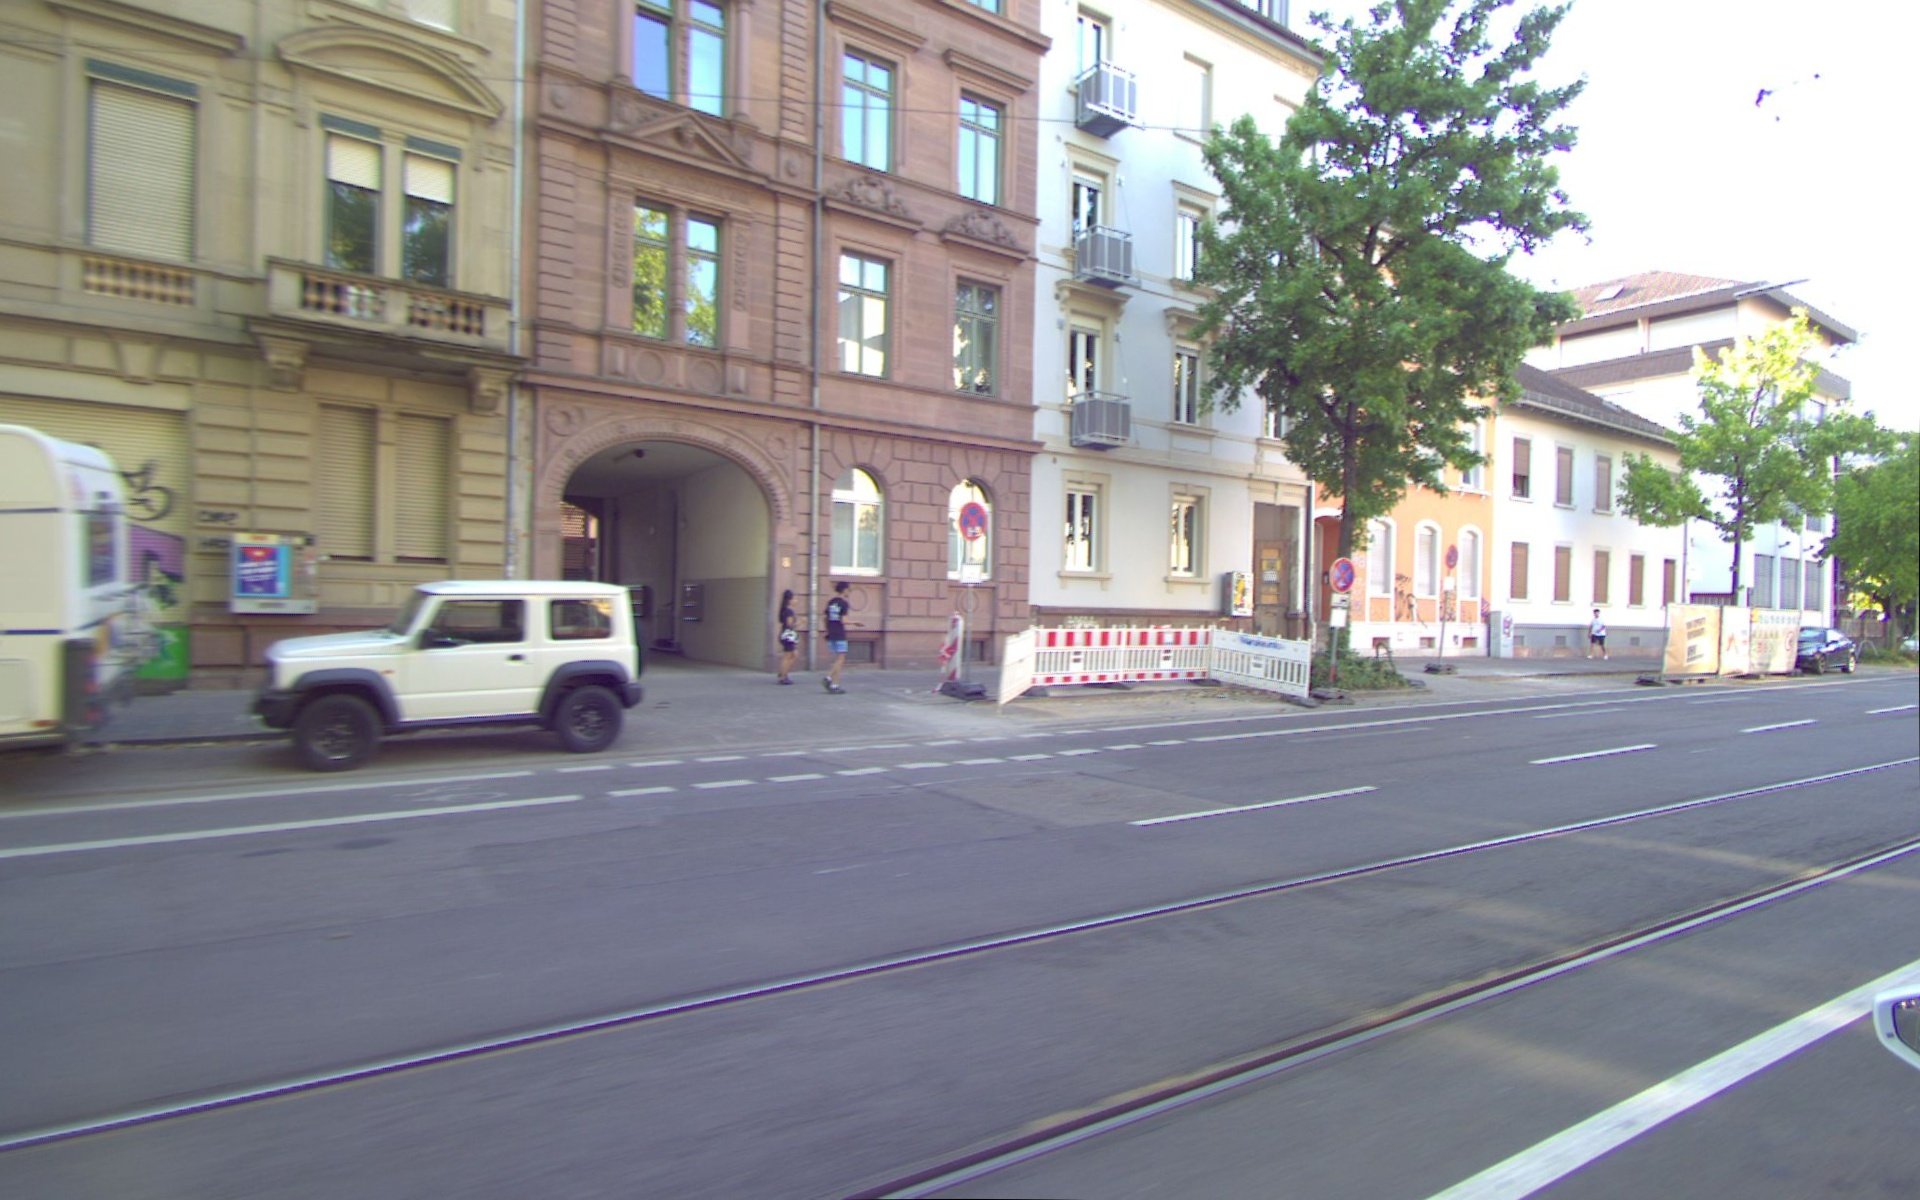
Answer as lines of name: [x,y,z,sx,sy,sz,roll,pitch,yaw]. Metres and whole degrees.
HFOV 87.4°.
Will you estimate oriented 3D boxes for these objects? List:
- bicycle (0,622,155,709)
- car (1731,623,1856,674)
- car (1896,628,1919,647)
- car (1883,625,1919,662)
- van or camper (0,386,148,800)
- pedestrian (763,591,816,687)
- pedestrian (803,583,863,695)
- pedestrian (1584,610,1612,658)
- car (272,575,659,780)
bicycle: [-10.363,0.732,11.448,1.771,0.936,0.575,1,0,-32]
car: [27.534,1.552,33.146,4.677,1.534,1.981,1,-1,-35]
car: [79.659,3.093,82.581,1.790,1.483,3.948,2,-2,-44]
car: [41.334,1.842,42.899,4.362,1.490,1.980,1,-1,-35]
van or camper: [-10.132,-0.173,6.600,7.171,2.987,2.405,1,3,-33]
pedestrian: [-2.715,0.610,15.991,0.601,1.481,0.572,1,2,-34]
pedestrian: [-1.959,0.586,15.459,0.682,1.676,0.563,1,2,-40]
pedestrian: [21.543,1.147,33.898,0.633,1.591,0.590,1,0,-35]
car: [-5.037,0.687,10.358,3.339,1.729,1.619,1,2,-37]
